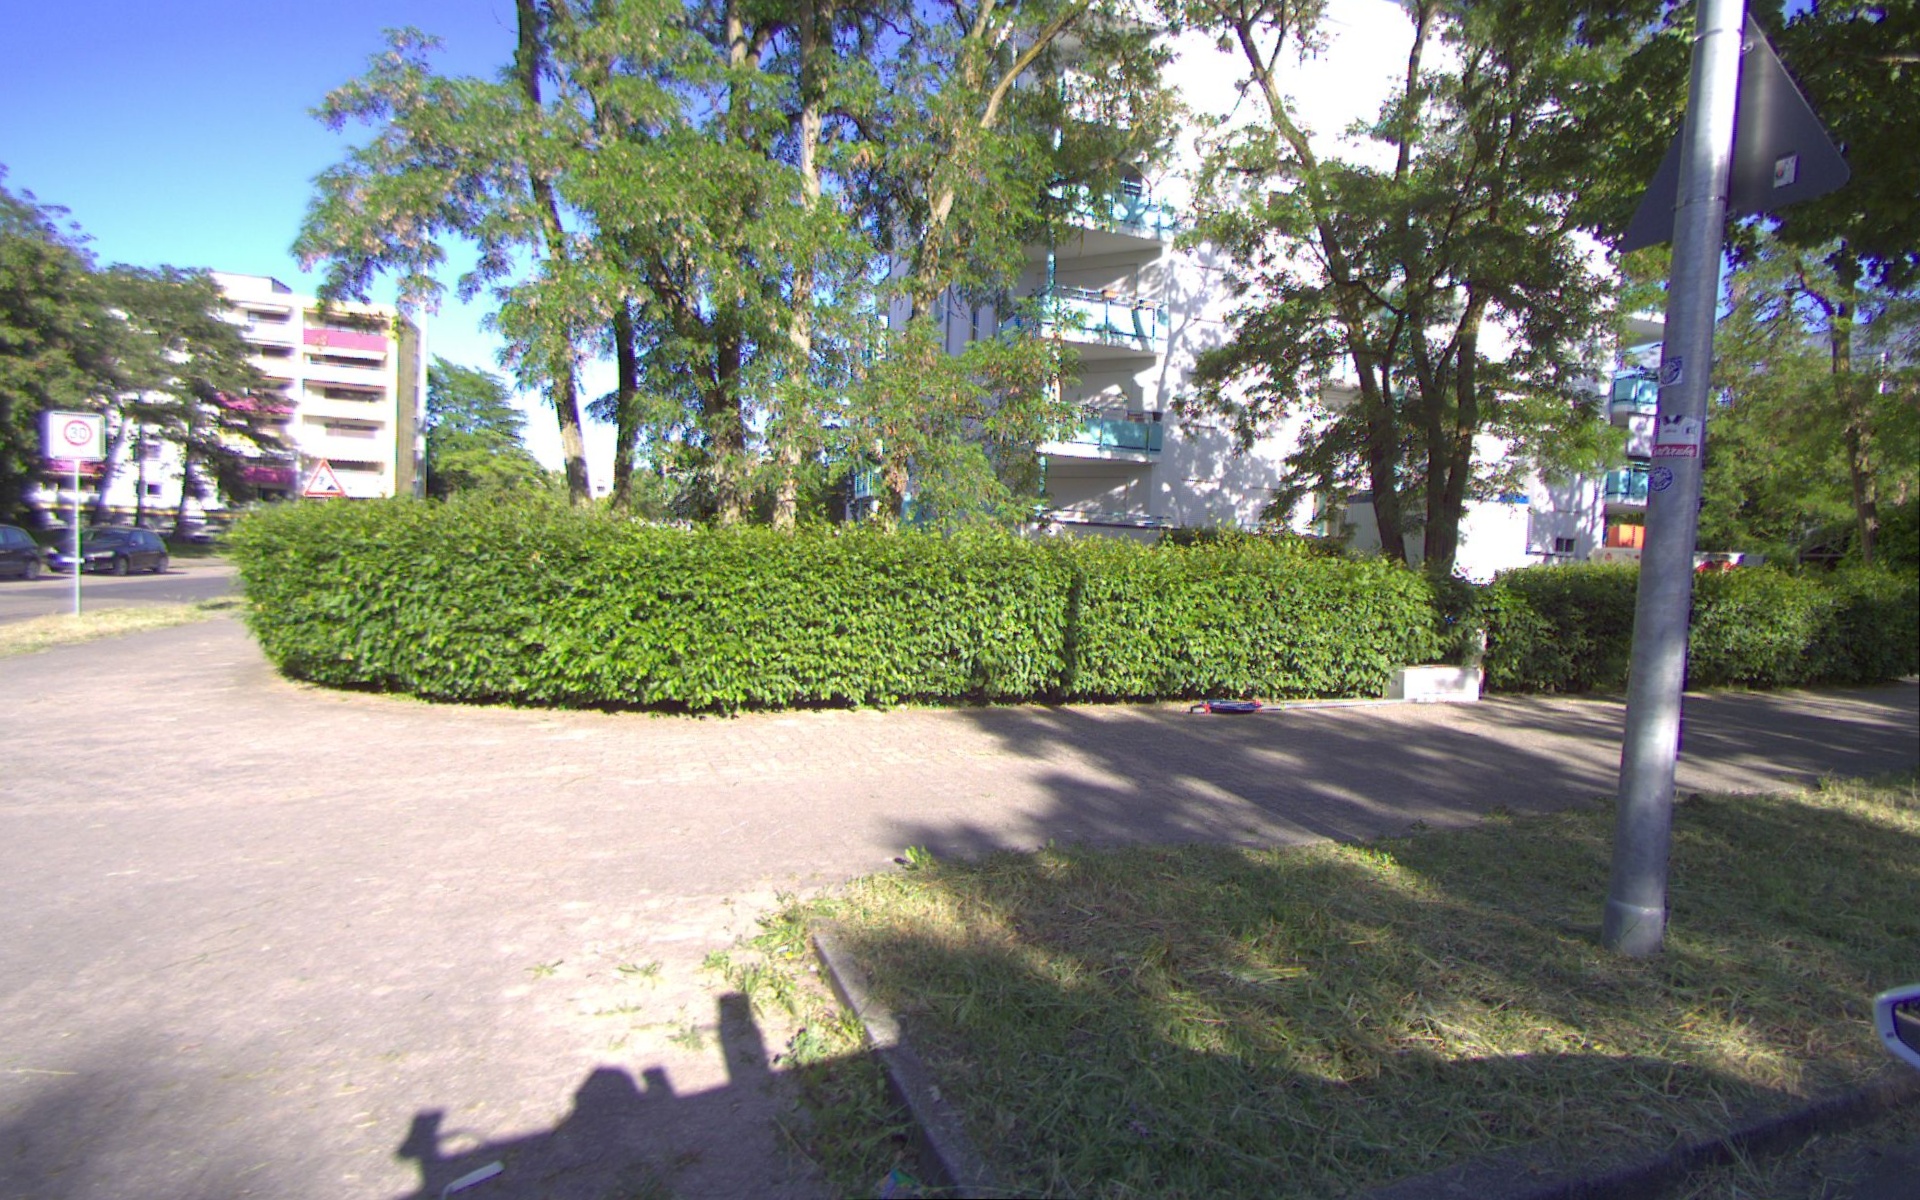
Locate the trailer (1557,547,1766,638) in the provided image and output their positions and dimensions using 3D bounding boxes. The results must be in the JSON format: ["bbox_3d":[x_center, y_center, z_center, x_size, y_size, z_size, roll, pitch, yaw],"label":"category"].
[{"bbox_3d":[17.703,-0.200,25.392,4.358,2.070,1.975,2,2,-17],"label":"trailer"}]

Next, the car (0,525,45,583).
[{"bbox_3d":[-24.407,-1.146,24.661,1.535,1.411,3.573,2,3,-19],"label":"car"}]

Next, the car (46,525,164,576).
[{"bbox_3d":[-26.144,-1.525,30.852,1.535,1.411,3.573,2,3,-19],"label":"car"}]

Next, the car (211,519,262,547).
[{"bbox_3d":[-48.403,-4.467,67.261,1.735,1.767,3.819,2,3,-19],"label":"car"}]

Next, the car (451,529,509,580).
[{"bbox_3d":[-21.145,-2.024,44.379,1.799,2.088,3.819,2,3,-19],"label":"car"}]

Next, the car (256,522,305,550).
[{"bbox_3d":[-46.004,-4.339,68.089,1.735,1.767,3.819,2,3,-19],"label":"car"}]
